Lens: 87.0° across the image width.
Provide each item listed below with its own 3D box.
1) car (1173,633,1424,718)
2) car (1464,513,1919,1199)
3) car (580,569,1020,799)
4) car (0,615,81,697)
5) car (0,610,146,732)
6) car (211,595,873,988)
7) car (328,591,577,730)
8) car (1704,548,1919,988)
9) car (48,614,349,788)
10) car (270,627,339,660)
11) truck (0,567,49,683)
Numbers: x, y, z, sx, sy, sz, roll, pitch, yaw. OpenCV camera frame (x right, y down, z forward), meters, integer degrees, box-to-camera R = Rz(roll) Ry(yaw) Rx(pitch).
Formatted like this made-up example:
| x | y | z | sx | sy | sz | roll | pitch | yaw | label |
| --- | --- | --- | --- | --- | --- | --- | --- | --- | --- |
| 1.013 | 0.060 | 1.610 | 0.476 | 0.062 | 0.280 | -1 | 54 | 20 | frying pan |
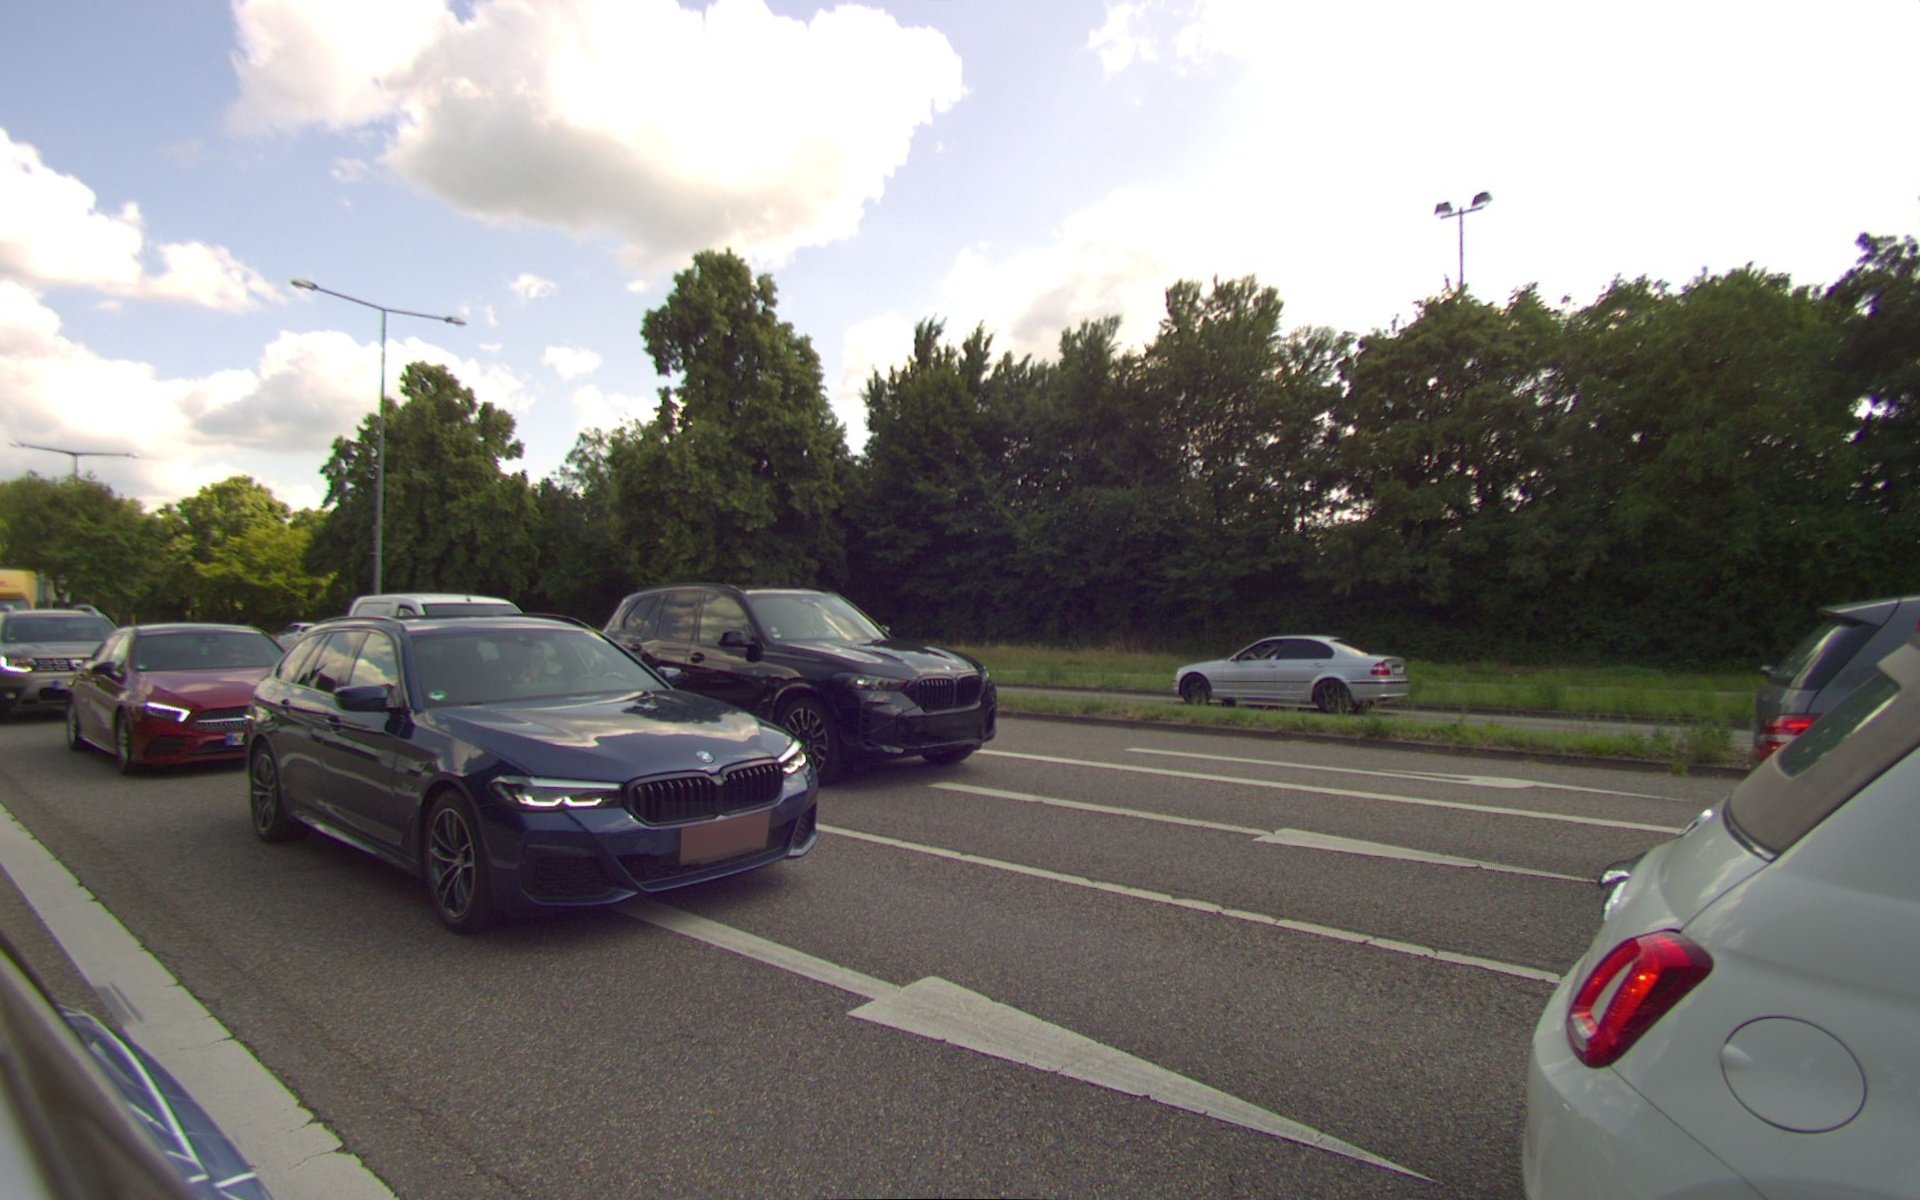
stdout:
| x | y | z | sx | sy | sz | roll | pitch | yaw | label |
| --- | --- | --- | --- | --- | --- | --- | --- | --- | --- |
| 6.358 | 1.368 | 19.295 | 4.236 | 1.398 | 1.650 | -1 | -3 | 41 | car |
| 2.630 | 0.628 | 1.002 | 3.538 | 1.508 | 1.553 | -1 | 0 | 41 | car |
| -1.747 | 0.668 | 9.924 | 4.547 | 1.759 | 1.794 | -1 | -1 | 41 | car |
| -19.623 | 1.109 | 20.913 | 3.892 | 1.542 | 1.705 | -1 | 0 | 41 | car |
| -13.910 | 0.967 | 15.380 | 4.174 | 1.624 | 1.705 | -1 | -1 | 41 | car |
| -2.867 | 0.761 | 6.200 | 4.871 | 1.508 | 1.778 | -1 | 0 | 41 | car |
| -7.833 | 0.818 | 15.396 | 4.728 | 1.812 | 1.747 | -1 | -1 | 41 | car |
| 5.269 | 0.615 | 3.386 | 4.358 | 1.631 | 1.681 | -1 | -1 | 41 | car |
| -8.331 | 0.918 | 10.906 | 4.533 | 1.473 | 1.705 | -1 | 0 | 41 | car |
| -30.537 | 1.988 | 47.099 | 3.998 | 1.397 | 1.650 | -1 | 0 | 41 | car |
| -26.477 | 0.686 | 27.076 | 6.963 | 2.881 | 2.333 | -1 | -1 | 41 | truck |
